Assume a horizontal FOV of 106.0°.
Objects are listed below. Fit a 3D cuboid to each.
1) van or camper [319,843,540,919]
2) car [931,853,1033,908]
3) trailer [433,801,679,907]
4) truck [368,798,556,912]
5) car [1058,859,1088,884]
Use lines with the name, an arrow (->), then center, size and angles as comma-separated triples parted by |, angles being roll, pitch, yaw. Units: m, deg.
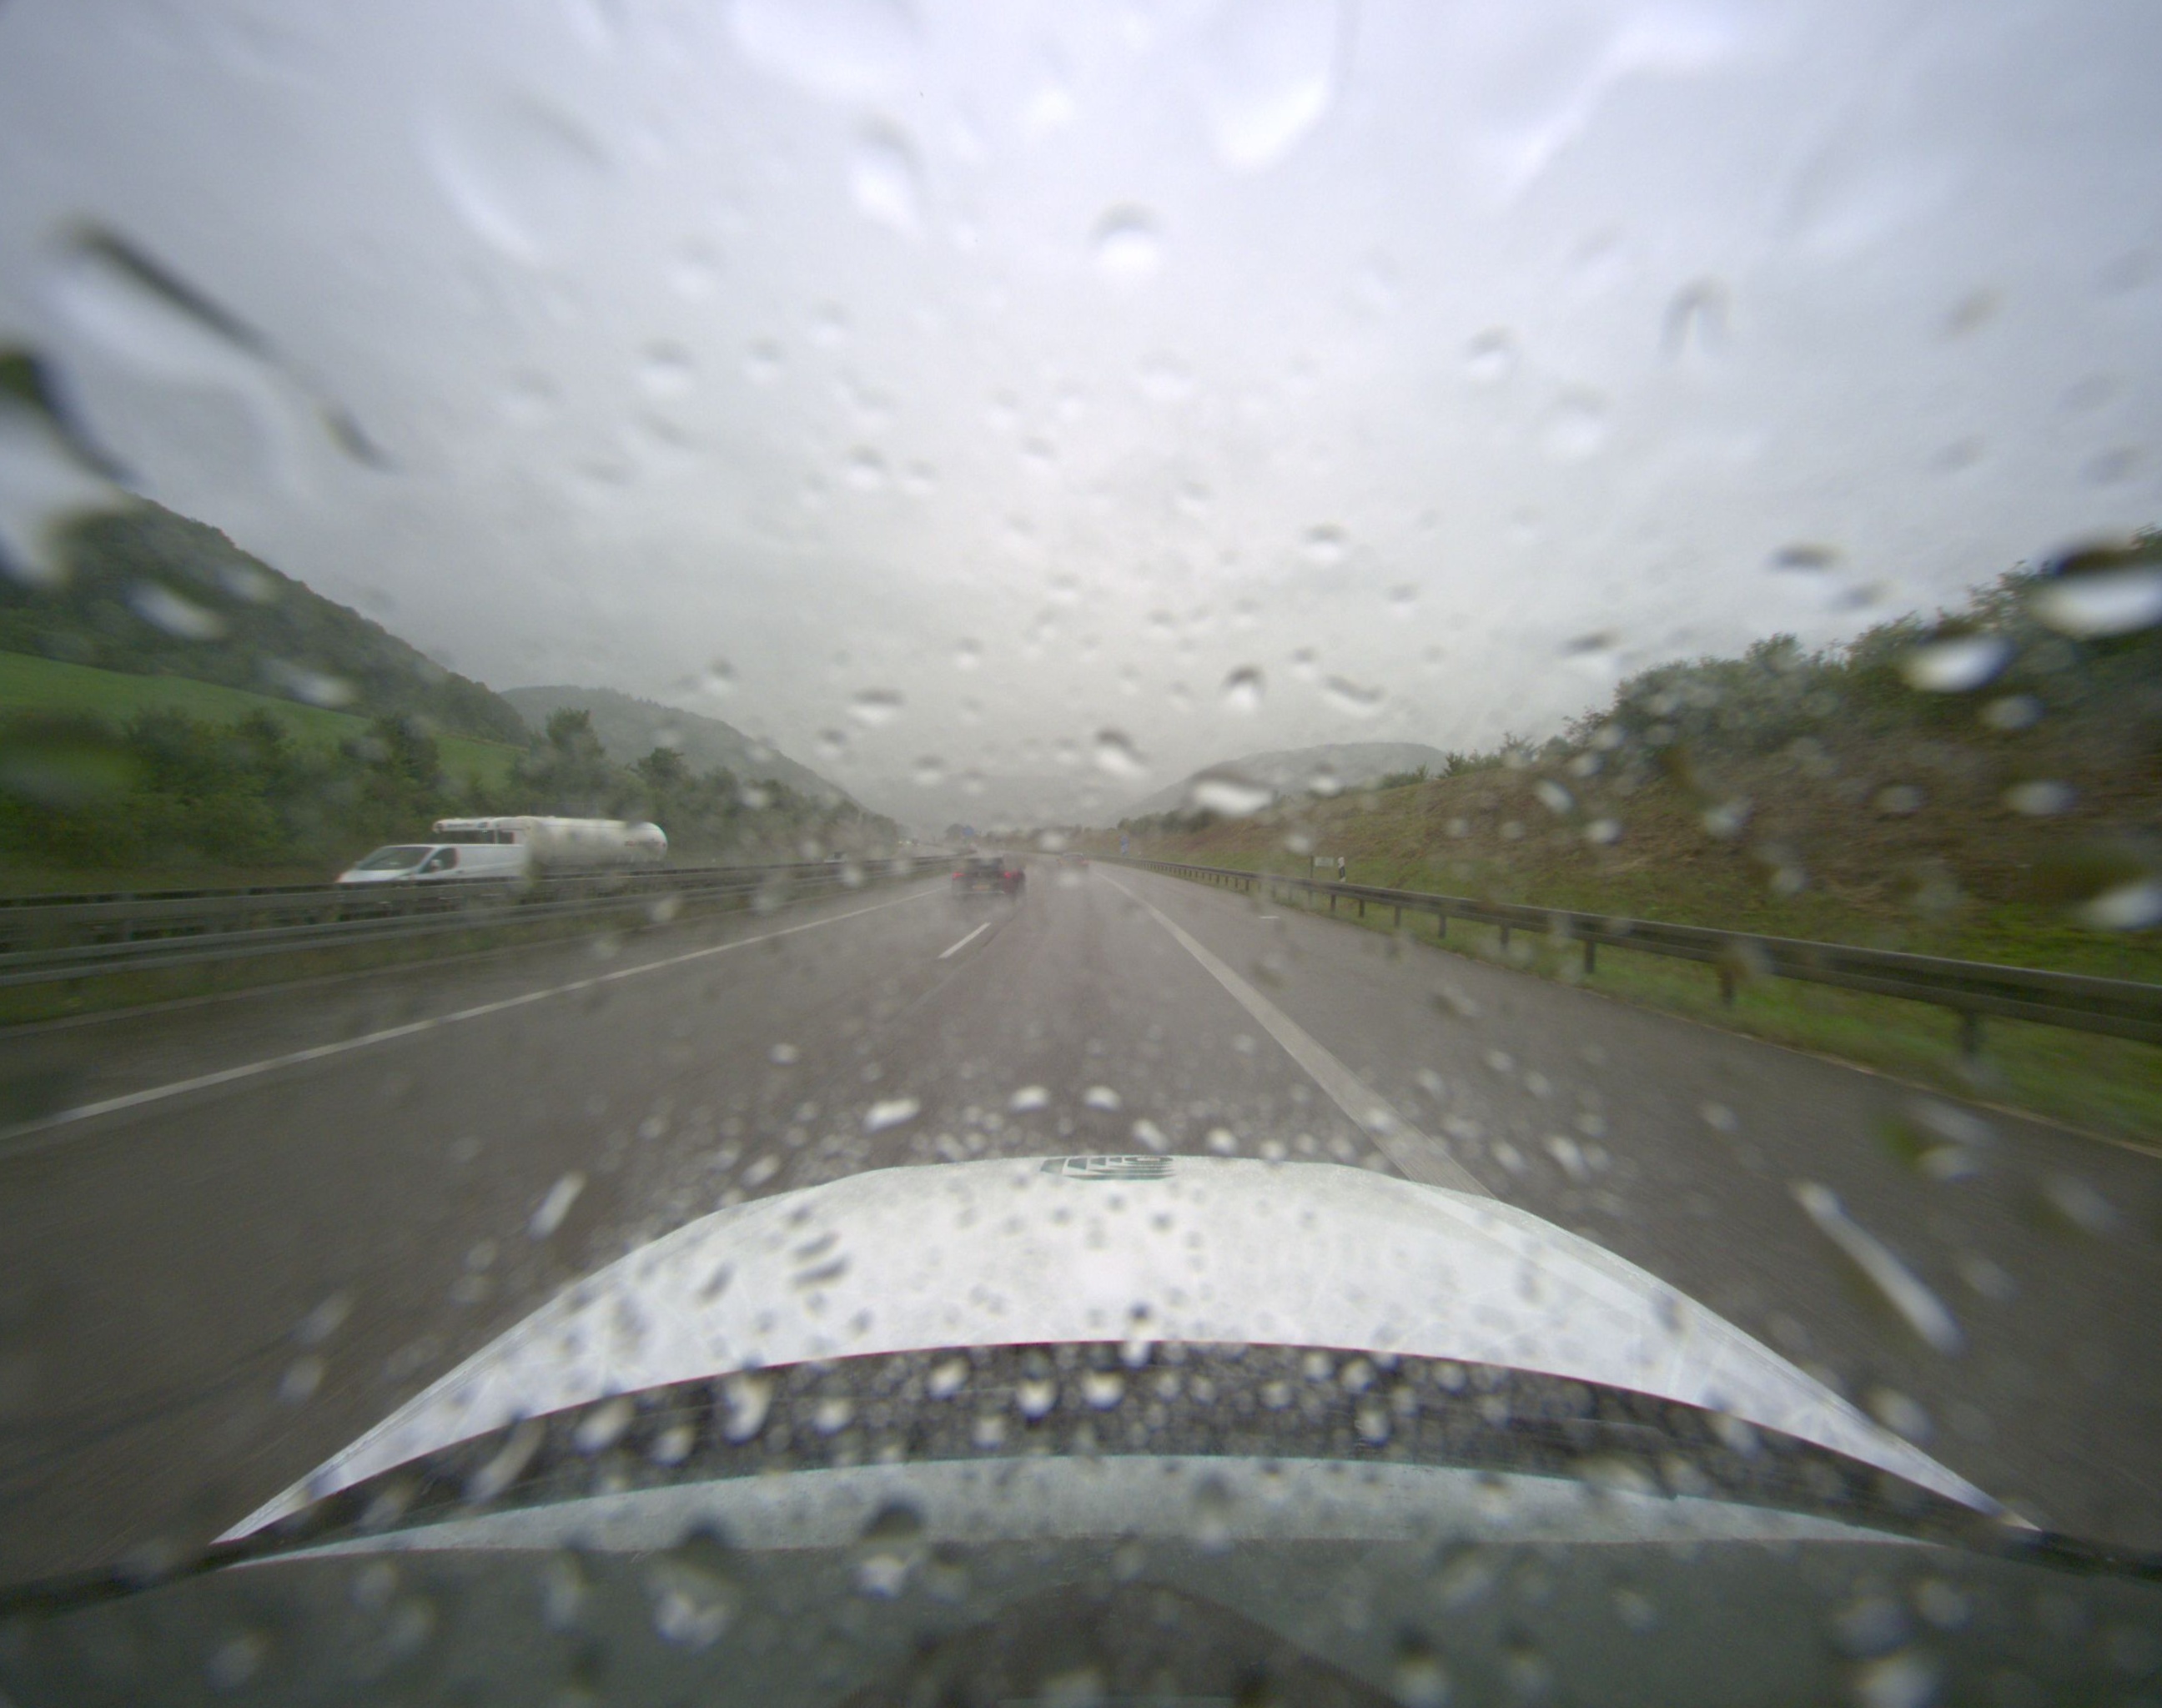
van or camper -> -18.278, 0.686, 23.308 | 1.987, 1.878, 5.345 | -1, 0, 0
car -> -2.872, 0.759, 24.926 | 2.397, 1.515, 4.785 | 0, -1, 1
trailer -> -22.750, -0.019, 36.735 | 2.924, 3.902, 12.565 | -1, 0, 0
truck -> -22.695, 0.035, 30.283 | 2.875, 3.802, 5.313 | -1, 0, -1
car -> -0.511, 1.039, 49.710 | 1.675, 1.472, 3.810 | 1, 0, -3
